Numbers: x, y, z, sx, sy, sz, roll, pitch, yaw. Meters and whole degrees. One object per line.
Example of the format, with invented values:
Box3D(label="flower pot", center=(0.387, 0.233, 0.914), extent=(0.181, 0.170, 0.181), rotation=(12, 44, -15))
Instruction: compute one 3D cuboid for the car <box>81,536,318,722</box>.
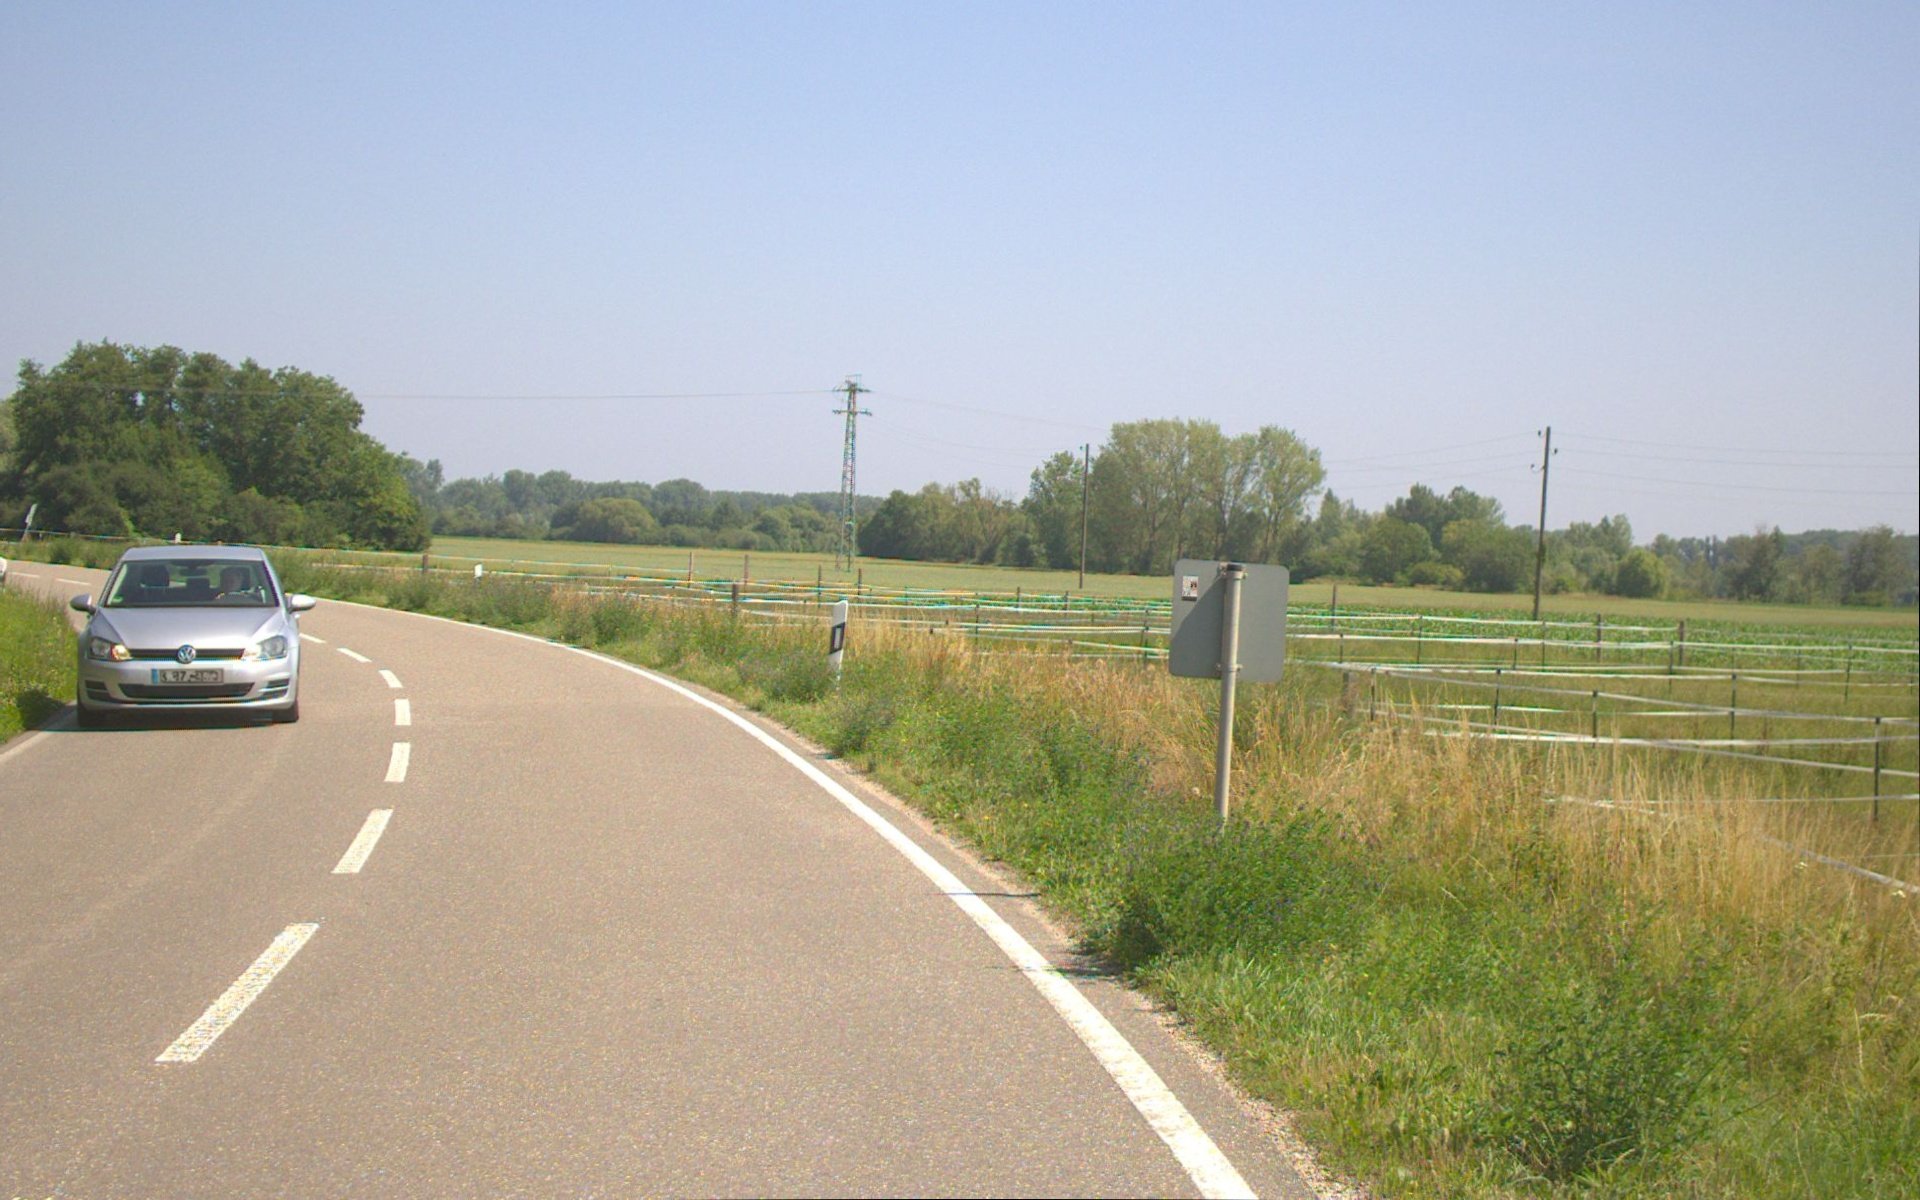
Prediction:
Box3D(label="car", center=(-6.345, 0.191, 29.025), extent=(1.783, 1.422, 4.061), rotation=(-1, 1, -10))
